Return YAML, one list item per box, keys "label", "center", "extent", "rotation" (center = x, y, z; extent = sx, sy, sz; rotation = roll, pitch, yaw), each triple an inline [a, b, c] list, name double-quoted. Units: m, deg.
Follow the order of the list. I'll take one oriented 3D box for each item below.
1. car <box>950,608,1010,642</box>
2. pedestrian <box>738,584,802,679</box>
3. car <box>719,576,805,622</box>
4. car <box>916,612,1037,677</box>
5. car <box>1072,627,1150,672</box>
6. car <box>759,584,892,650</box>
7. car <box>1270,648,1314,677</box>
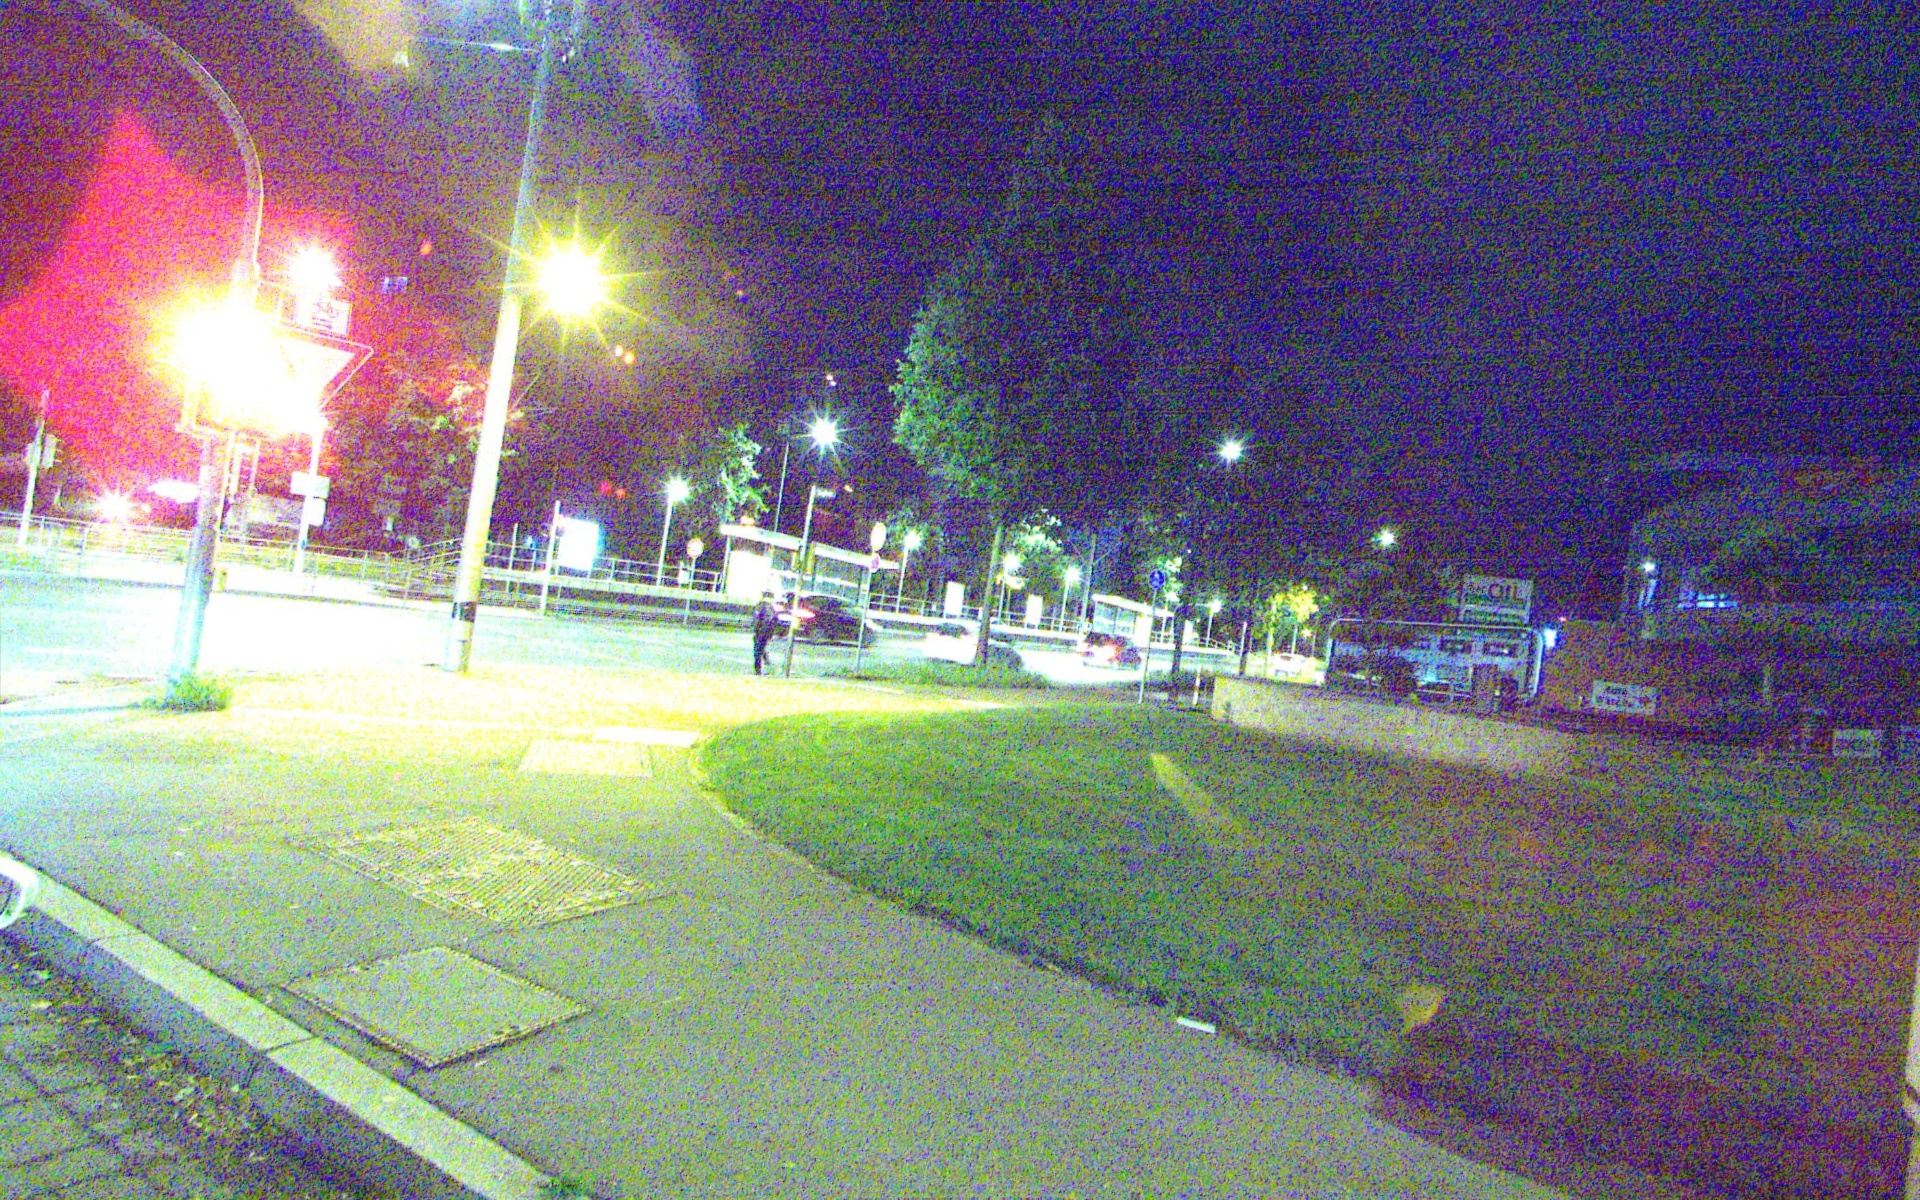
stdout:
- label: "car"
  center: [1.373, 1.718, 68.290]
  extent: [1.970, 2.039, 3.985]
  rotation: [6, 0, 36]
- label: "pedestrian"
  center: [-3.741, 0.622, 19.853]
  extent: [0.820, 1.767, 0.755]
  rotation: [6, 1, 31]
- label: "car"
  center: [-10.218, -0.020, 52.167]
  extent: [1.970, 2.039, 3.985]
  rotation: [6, 0, 36]
- label: "car"
  center: [0.578, 1.455, 32.002]
  extent: [1.780, 1.683, 3.989]
  rotation: [10, 2, 34]
- label: "car"
  center: [7.189, 2.368, 47.559]
  extent: [1.781, 1.671, 4.346]
  rotation: [8, 0, 34]
- label: "car"
  center: [-4.519, 0.636, 34.504]
  extent: [1.834, 1.679, 4.449]
  rotation: [9, 0, 35]
- label: "car"
  center: [23.958, 4.507, 72.442]
  extent: [1.844, 1.703, 4.288]
  rotation: [9, 0, 32]
